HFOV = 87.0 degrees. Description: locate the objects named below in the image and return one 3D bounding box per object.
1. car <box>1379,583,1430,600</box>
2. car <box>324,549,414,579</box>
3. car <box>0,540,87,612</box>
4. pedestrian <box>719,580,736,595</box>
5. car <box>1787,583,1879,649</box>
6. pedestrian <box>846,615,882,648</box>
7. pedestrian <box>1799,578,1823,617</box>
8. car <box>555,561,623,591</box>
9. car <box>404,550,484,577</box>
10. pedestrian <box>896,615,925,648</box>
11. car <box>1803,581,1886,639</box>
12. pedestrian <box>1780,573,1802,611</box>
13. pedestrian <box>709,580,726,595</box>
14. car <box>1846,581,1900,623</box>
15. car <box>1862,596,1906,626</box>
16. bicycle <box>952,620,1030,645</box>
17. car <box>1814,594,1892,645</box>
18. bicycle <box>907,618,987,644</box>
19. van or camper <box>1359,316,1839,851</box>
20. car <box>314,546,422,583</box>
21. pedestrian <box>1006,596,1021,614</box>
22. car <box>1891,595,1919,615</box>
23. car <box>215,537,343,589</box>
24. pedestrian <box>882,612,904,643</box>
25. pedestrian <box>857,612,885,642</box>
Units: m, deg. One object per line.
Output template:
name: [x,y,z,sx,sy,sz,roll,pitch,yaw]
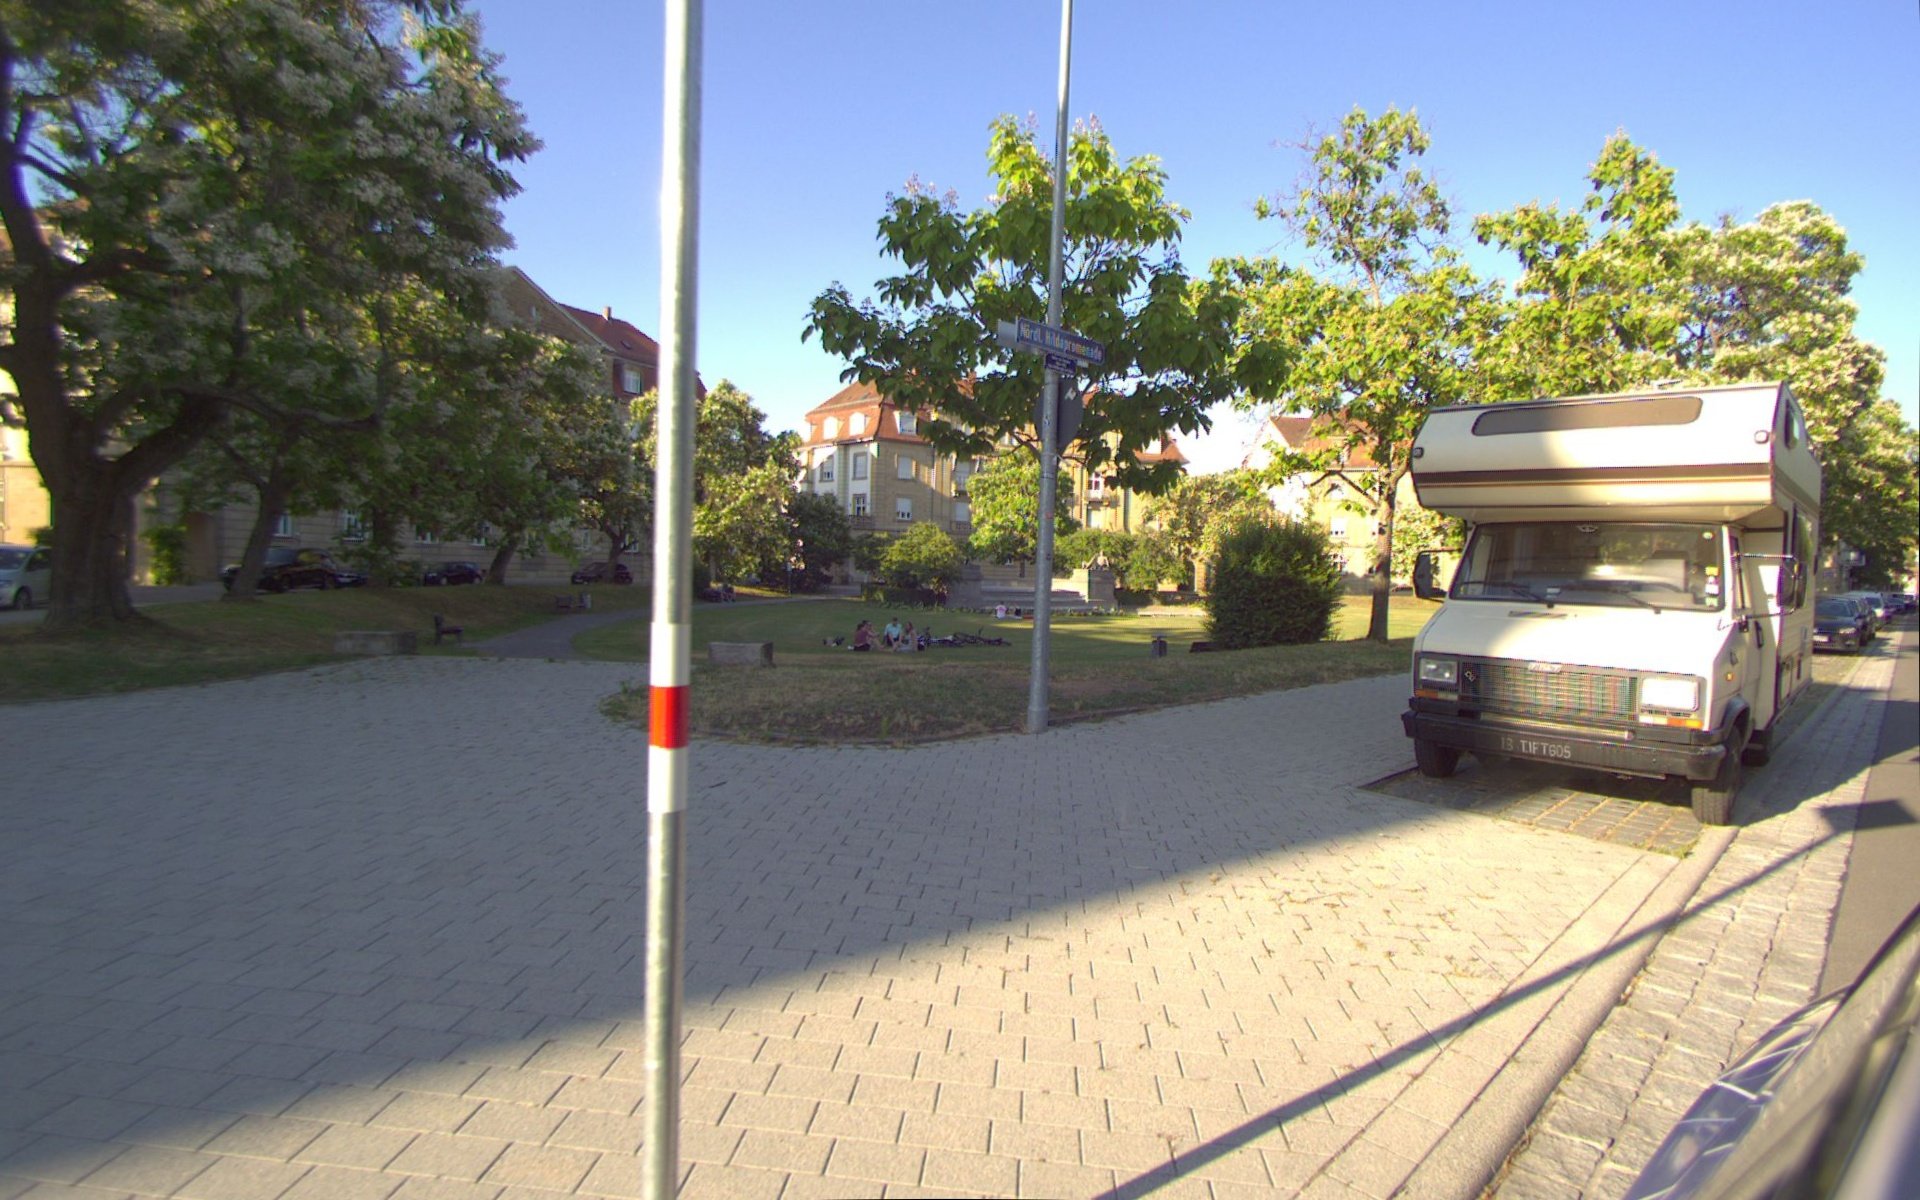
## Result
car: [43.837,-0.849,99.924,4.309,1.435,1.811,2,2,15]
car: [-30.749,-1.886,52.807,1.852,1.471,3.985,2,2,13]
car: [-22.715,-0.613,24.031,1.576,1.571,4.010,1,2,-18]
pedestrian: [-12.993,-0.688,56.525,0.583,0.804,0.659,3,2,33]
car: [22.422,0.350,26.027,1.625,1.482,4.187,3,3,41]
pedestrian: [-2.534,0.814,26.683,0.712,0.823,0.611,1,1,-44]
pedestrian: [39.187,-0.100,46.598,0.720,1.757,0.753,1,1,-45]
car: [-22.774,-1.473,62.296,1.972,1.727,3.980,1,1,16]
car: [-29.613,-2.078,58.170,1.856,1.471,3.978,2,2,18]
pedestrian: [-1.315,0.826,26.836,0.602,0.823,0.473,1,1,-44]
car: [26.886,0.242,30.724,1.732,1.570,4.354,4,3,43]
pedestrian: [39.578,-0.375,48.198,0.720,1.757,0.726,1,1,-45]
pedestrian: [-13.386,-0.696,55.891,0.583,0.804,0.659,3,2,33]
car: [41.643,0.038,46.125,1.679,1.761,4.443,4,3,43]
car: [51.375,0.568,56.246,1.679,1.504,4.734,4,3,43]
bicycle: [0.904,0.949,30.119,1.774,0.622,1.775,1,2,-21]
car: [31.100,0.618,35.209,1.733,1.570,4.206,4,3,45]
bicycle: [-0.388,0.882,29.078,1.774,0.622,1.775,1,2,-21]
van or camper: [5.568,-0.196,8.372,2.235,2.939,5.585,3,4,43]
car: [-25.747,-1.553,44.185,1.848,1.471,4.362,2,2,6]
pedestrian: [2.545,0.243,48.283,0.655,0.804,0.587,2,2,2]
car: [87.608,0.472,93.783,1.704,1.645,4.279,6,3,44]
car: [-25.295,-1.388,37.796,1.844,1.767,4.530,2,2,-2]
pedestrian: [-1.906,0.770,28.870,0.563,0.823,1.259,1,1,0]
pedestrian: [-2.480,0.747,28.167,0.602,0.823,0.473,1,1,-44]
